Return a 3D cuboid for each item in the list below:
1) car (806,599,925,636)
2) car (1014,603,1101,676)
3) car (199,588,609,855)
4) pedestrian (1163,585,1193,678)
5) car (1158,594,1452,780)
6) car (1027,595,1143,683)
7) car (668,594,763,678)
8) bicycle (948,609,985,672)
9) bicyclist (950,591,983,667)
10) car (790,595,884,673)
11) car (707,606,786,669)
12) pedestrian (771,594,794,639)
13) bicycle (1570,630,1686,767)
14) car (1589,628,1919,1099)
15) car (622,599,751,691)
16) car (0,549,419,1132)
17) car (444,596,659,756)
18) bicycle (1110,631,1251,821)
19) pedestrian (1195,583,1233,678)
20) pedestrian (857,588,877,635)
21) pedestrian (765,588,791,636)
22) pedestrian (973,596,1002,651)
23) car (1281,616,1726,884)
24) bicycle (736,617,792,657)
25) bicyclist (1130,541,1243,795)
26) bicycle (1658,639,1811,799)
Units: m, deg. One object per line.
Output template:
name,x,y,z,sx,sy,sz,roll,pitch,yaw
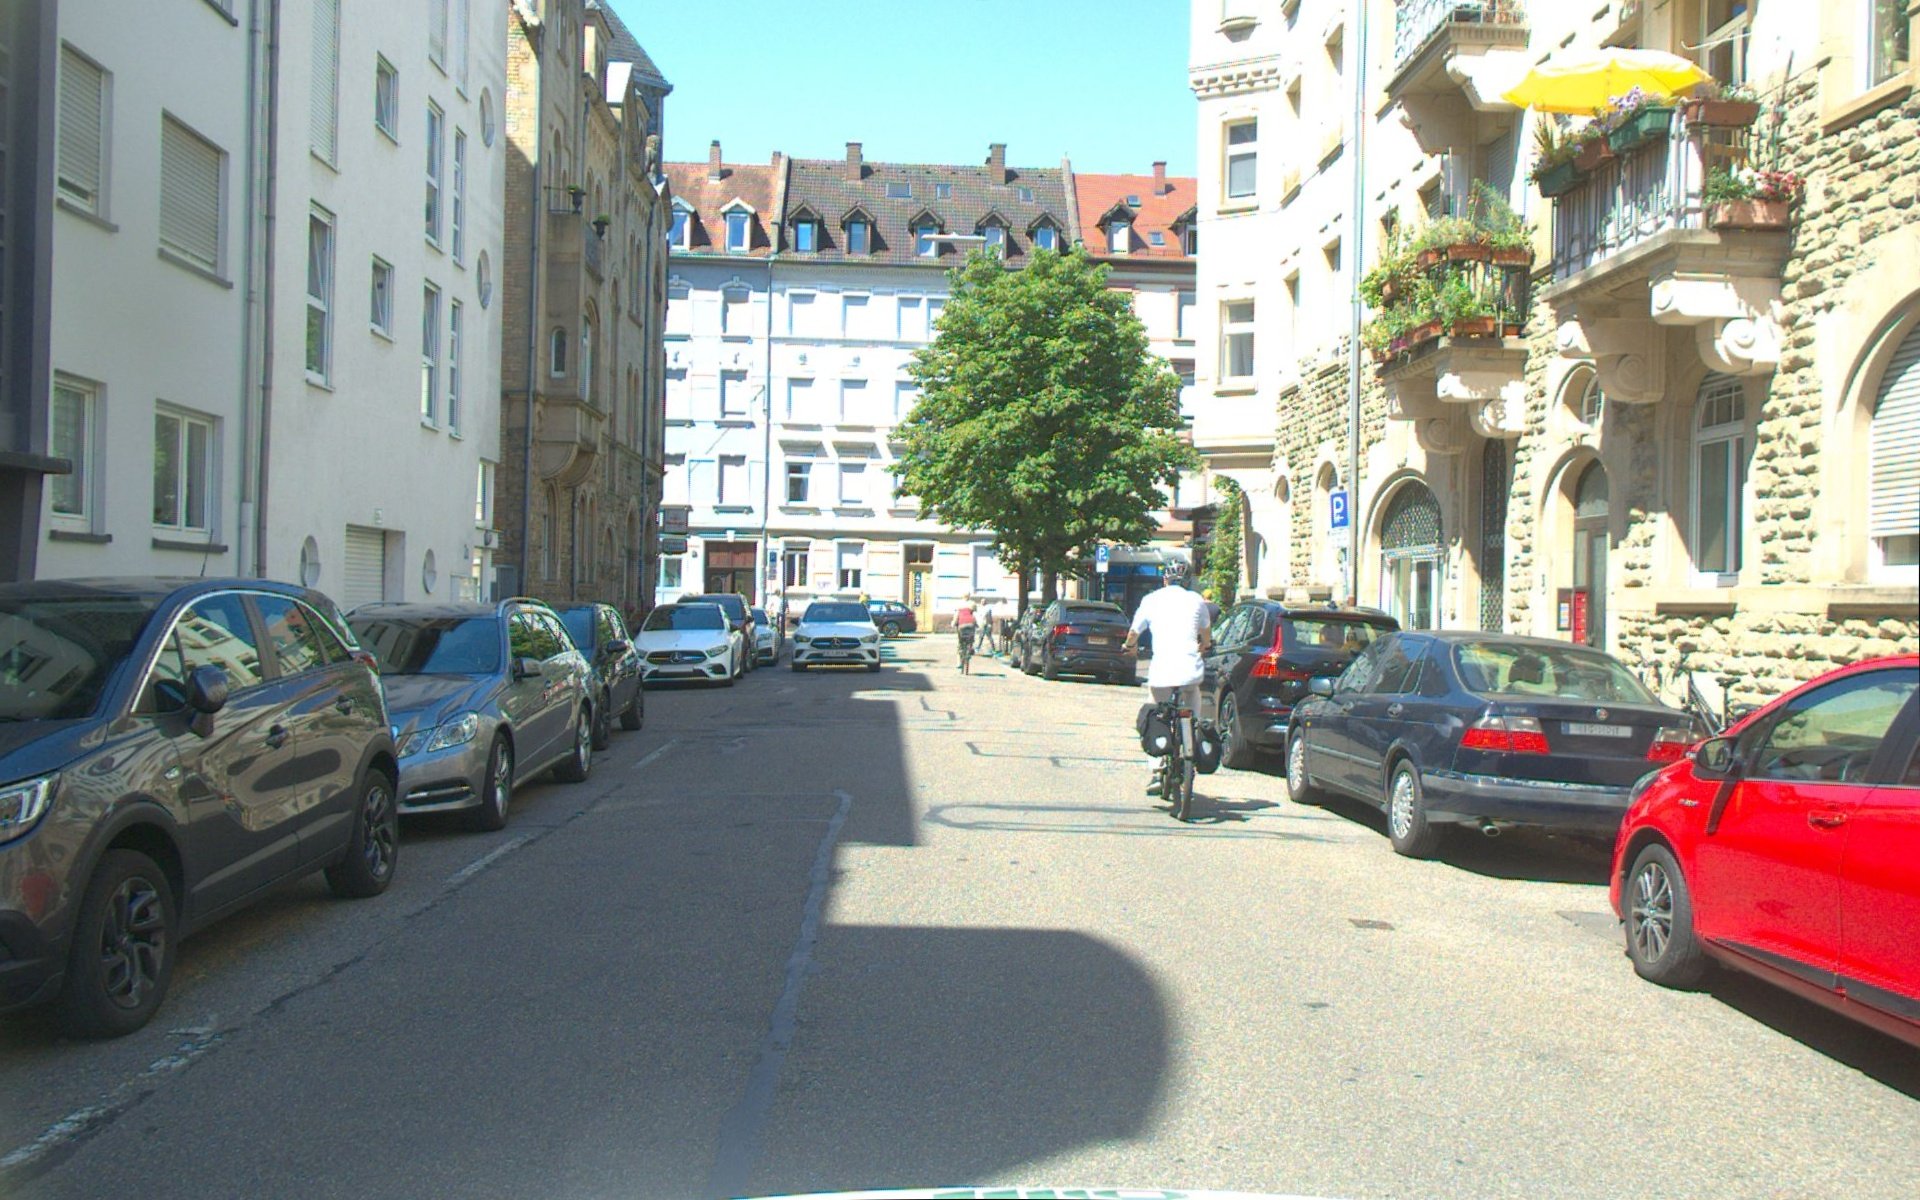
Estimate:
car,-3.853,0.716,67.469,4.762,1.462,1.999,0,-1,-3
car,2.287,0.918,39.786,1.630,1.567,4.175,3,-1,-2
car,-3.805,0.743,12.194,1.623,1.545,4.668,-1,0,-3
pedestrian,4.503,0.648,34.197,0.508,1.901,0.653,1,-1,-2
car,3.399,0.806,17.239,1.797,1.594,4.601,3,-1,-4
car,2.521,0.777,34.379,1.702,1.624,4.344,3,-1,-4
car,-5.040,0.722,34.504,1.639,1.610,4.049,-1,-1,-4
bicycle,0.121,0.812,34.143,0.638,1.230,2.440,2,-1,-1
bicyclist,0.127,0.599,34.114,0.657,1.560,0.609,0,-1,-2
car,-2.529,0.685,34.802,1.804,1.486,4.359,-1,0,-3
car,-5.054,0.860,39.627,1.668,1.376,4.510,-1,0,-5
pedestrian,-7.290,0.686,67.843,0.884,1.846,0.959,0,-1,-8
bicycle,6.410,0.915,15.944,0.376,1.229,1.775,0,-1,-1
car,3.842,0.899,5.933,1.539,1.478,3.841,3,-1,-2
car,-4.786,0.764,29.441,1.741,1.485,4.276,-1,0,-3
car,-3.561,0.726,6.706,1.571,1.673,3.974,-1,-1,-3
car,-4.343,0.758,18.103,1.536,1.518,3.891,-1,0,-3
bicycle,1.627,0.888,12.571,0.638,1.250,2.440,2,-1,-2
pedestrian,5.218,0.628,34.057,0.587,1.913,0.882,1,-1,-3
pedestrian,-3.729,0.460,66.124,0.712,1.886,0.683,0,-1,-12
pedestrian,-7.303,0.481,66.461,0.832,1.922,0.936,0,-1,8
pedestrian,0.858,0.719,51.458,0.840,1.701,0.774,0,-1,-2
car,3.545,0.893,11.571,1.483,1.423,3.969,5,-1,-4
bicycle,-5.467,1.026,46.181,1.496,1.025,0.366,3,-1,-7
bicyclist,1.657,0.492,12.161,0.657,1.791,0.609,3,-1,-2
bicycle,6.450,0.952,13.860,0.432,1.229,1.775,0,-1,-1
